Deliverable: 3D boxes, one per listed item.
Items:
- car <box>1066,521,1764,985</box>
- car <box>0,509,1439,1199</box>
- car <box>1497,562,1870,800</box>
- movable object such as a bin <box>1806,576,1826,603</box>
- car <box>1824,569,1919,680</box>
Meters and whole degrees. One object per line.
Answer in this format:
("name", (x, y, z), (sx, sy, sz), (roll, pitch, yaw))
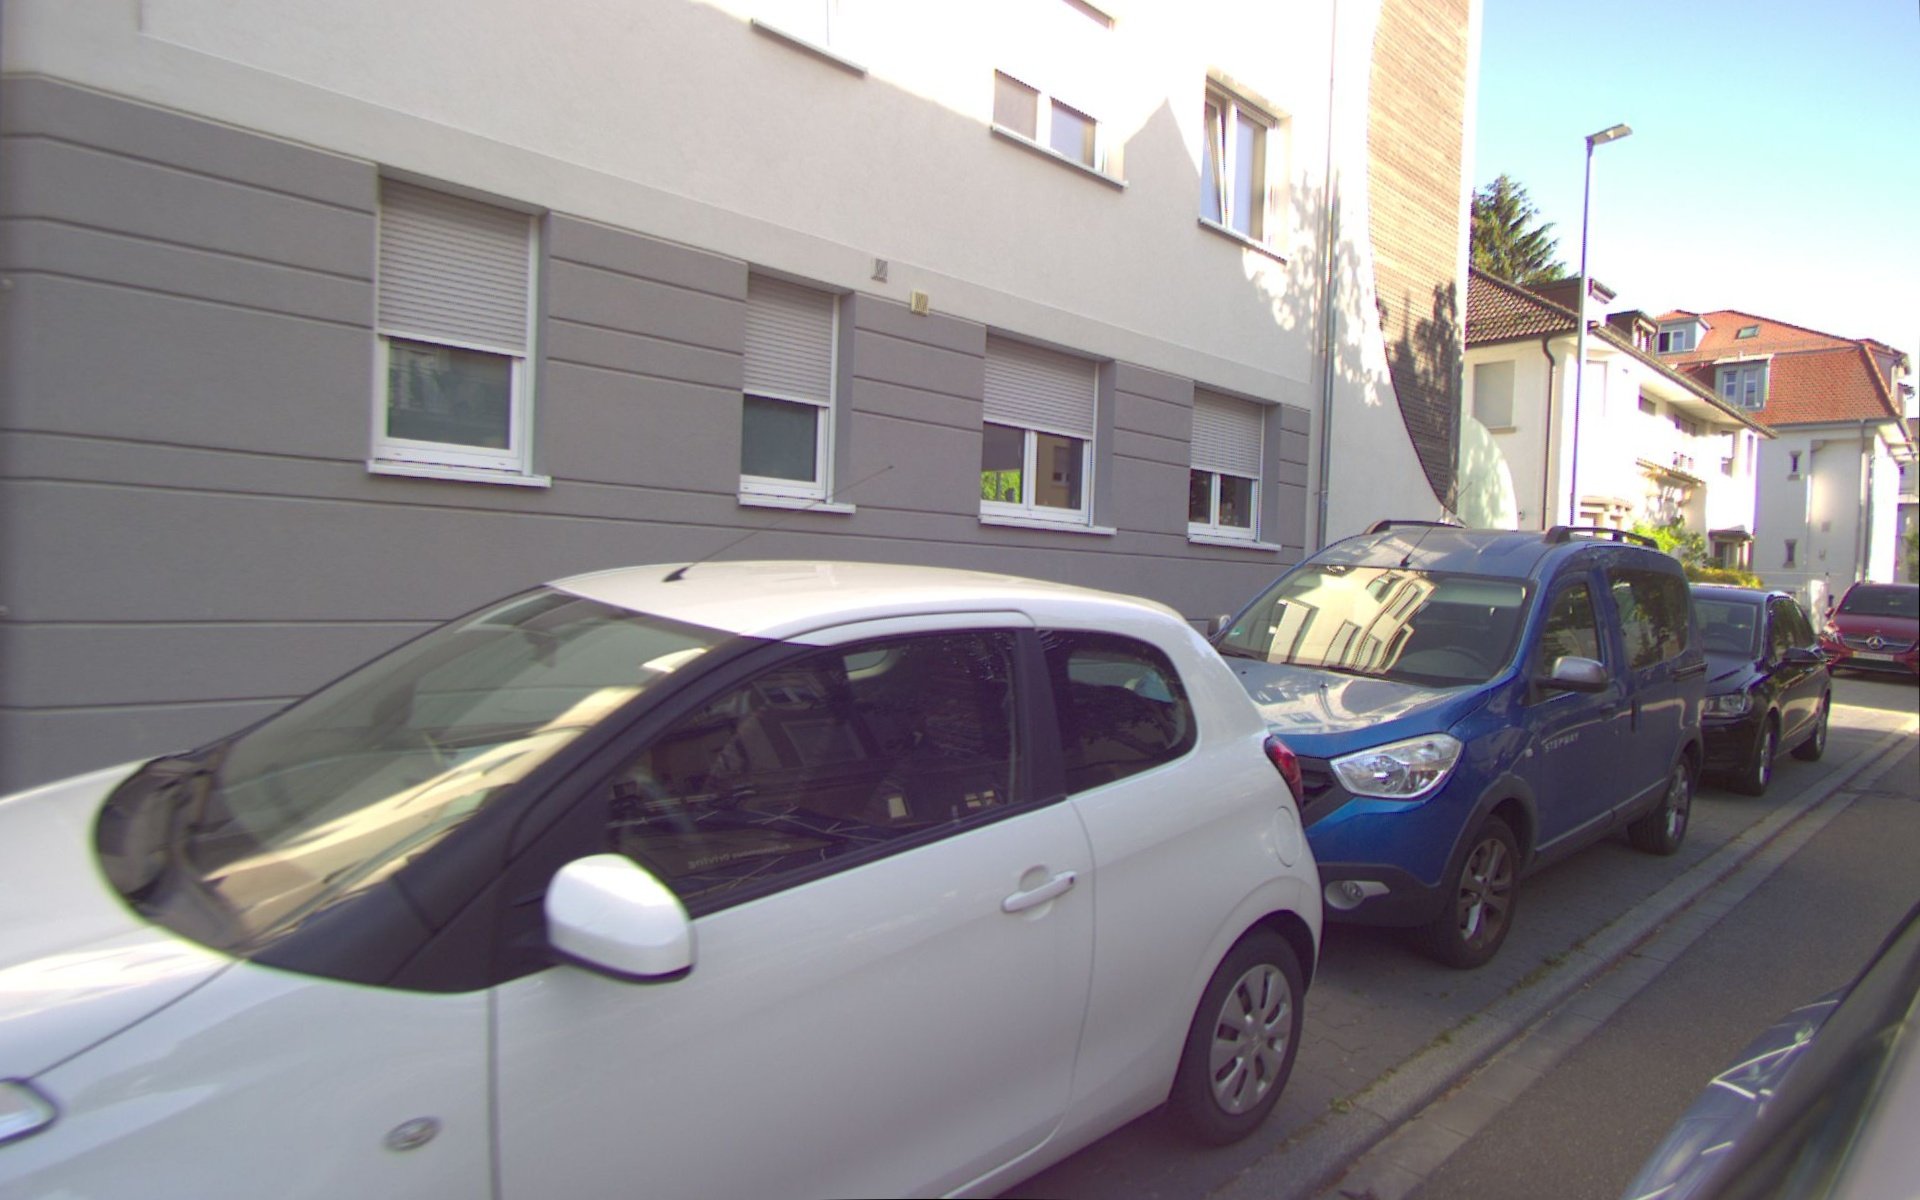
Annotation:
("car", (2.642, 0.428, 5.340), (4.192, 1.451, 1.686), (-1, 7, -42))
("car", (-0.555, 0.591, 2.381), (3.664, 1.427, 1.569), (-1, 7, -40))
("car", (6.572, 0.549, 9.020), (4.106, 1.549, 1.741), (0, 4, -42))
("movable object such as a bin", (34.419, -0.420, 40.673), (0.685, 1.076, 0.556), (-1, 1, -45))
("car", (18.950, 0.425, 19.927), (5.102, 1.928, 1.877), (0, 4, -38))
